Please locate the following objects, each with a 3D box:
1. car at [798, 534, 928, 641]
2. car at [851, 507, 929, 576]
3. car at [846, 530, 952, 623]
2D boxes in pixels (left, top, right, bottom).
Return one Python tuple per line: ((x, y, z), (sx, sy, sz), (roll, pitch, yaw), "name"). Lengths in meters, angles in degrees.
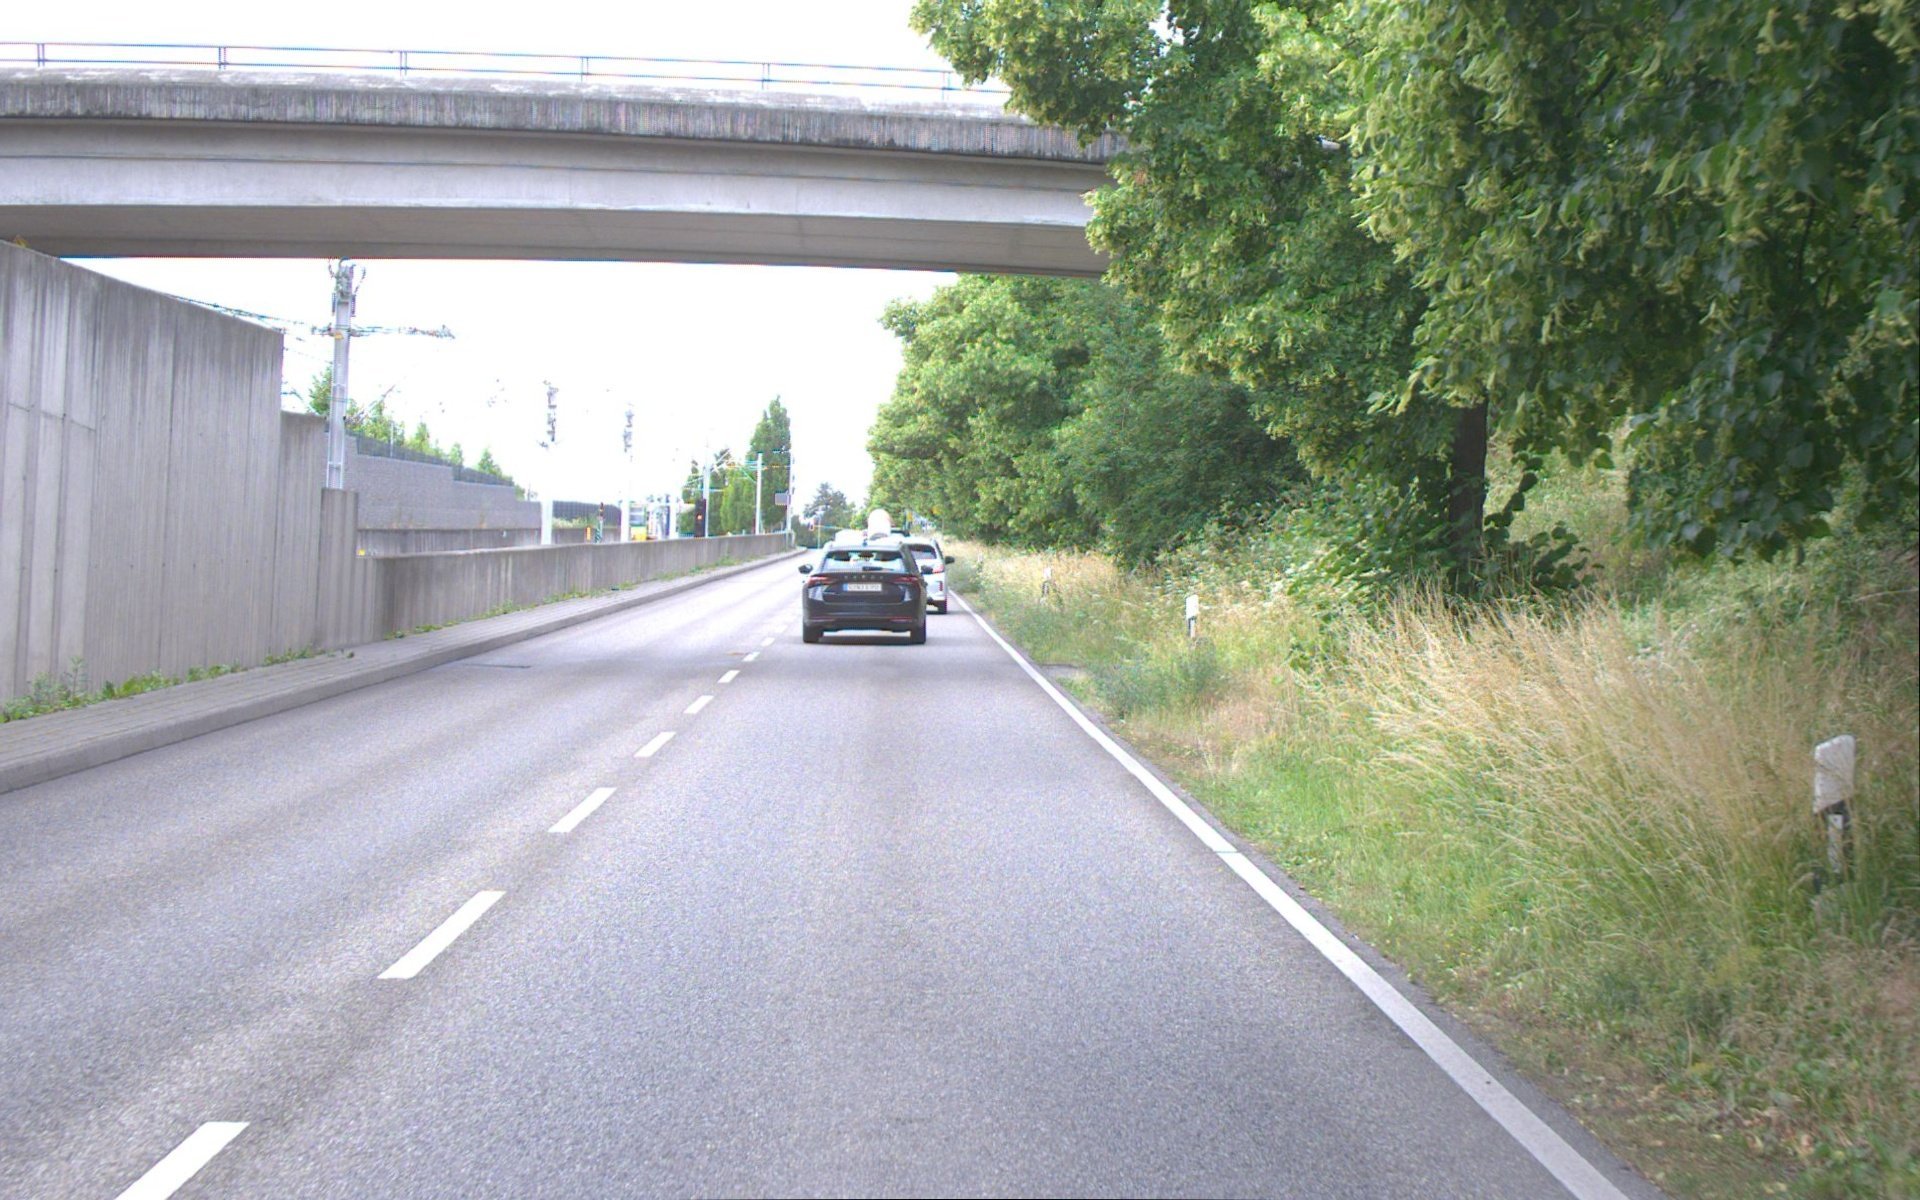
((-1.382, -0.207, 49.615), (1.781, 1.463, 4.000), (1, 1, -1), "car")
((-1.857, -1.539, 91.644), (1.993, 1.734, 4.000), (1, 0, -1), "car")
((-1.203, -0.486, 67.435), (1.993, 1.747, 4.000), (1, 1, -1), "car")
